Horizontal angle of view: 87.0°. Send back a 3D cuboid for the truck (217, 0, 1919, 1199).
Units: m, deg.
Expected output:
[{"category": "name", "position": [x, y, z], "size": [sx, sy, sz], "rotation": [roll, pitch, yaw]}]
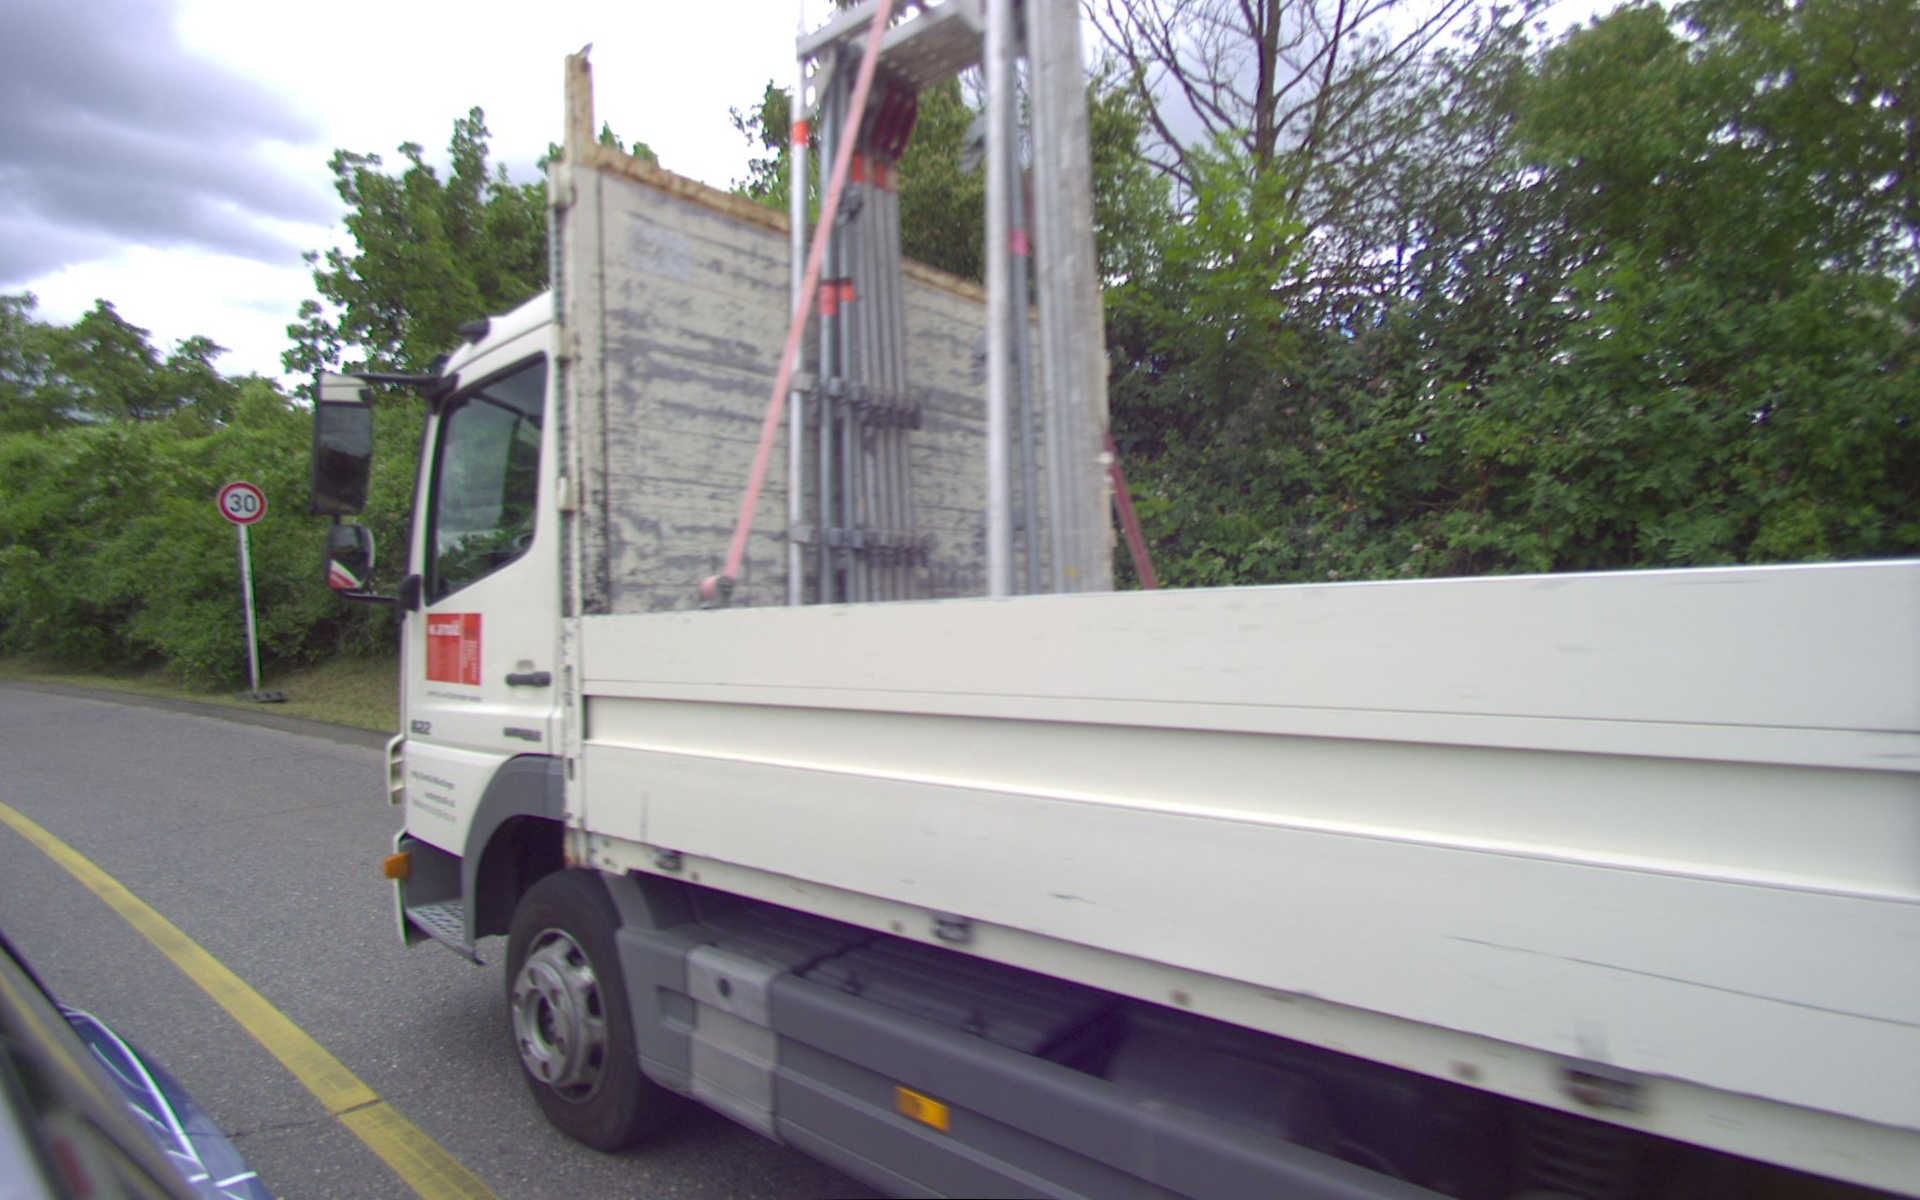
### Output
[{"category": "truck", "position": [0.880, -0.341, 2.343], "size": [7.609, 3.282, 2.722], "rotation": [0, 0, 42]}]
